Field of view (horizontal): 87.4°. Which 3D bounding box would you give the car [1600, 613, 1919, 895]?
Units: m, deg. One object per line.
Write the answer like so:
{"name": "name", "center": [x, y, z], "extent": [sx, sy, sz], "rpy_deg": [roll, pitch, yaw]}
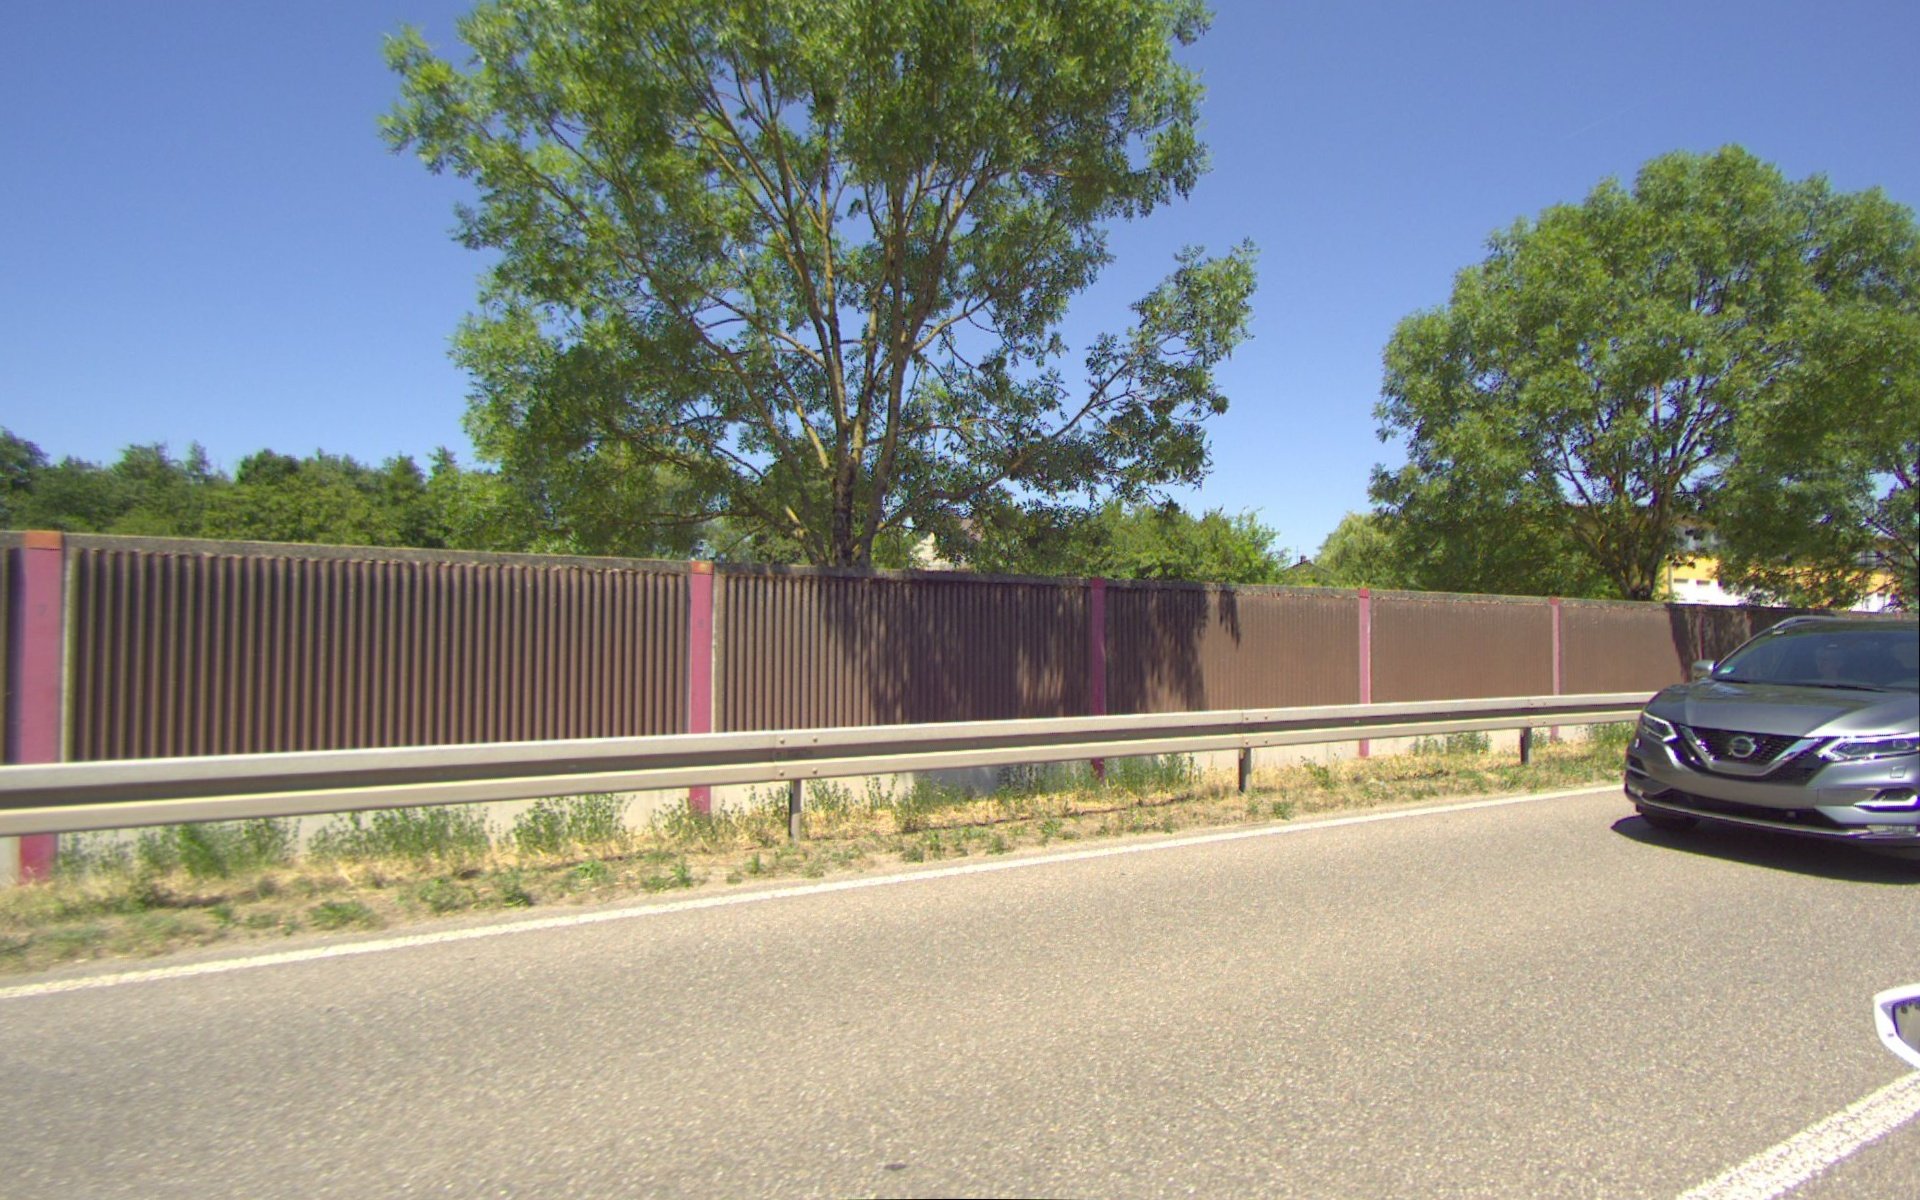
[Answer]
{"name": "car", "center": [6.766, 0.898, 7.325], "extent": [4.339, 1.546, 1.781], "rpy_deg": [1, -1, -31]}
